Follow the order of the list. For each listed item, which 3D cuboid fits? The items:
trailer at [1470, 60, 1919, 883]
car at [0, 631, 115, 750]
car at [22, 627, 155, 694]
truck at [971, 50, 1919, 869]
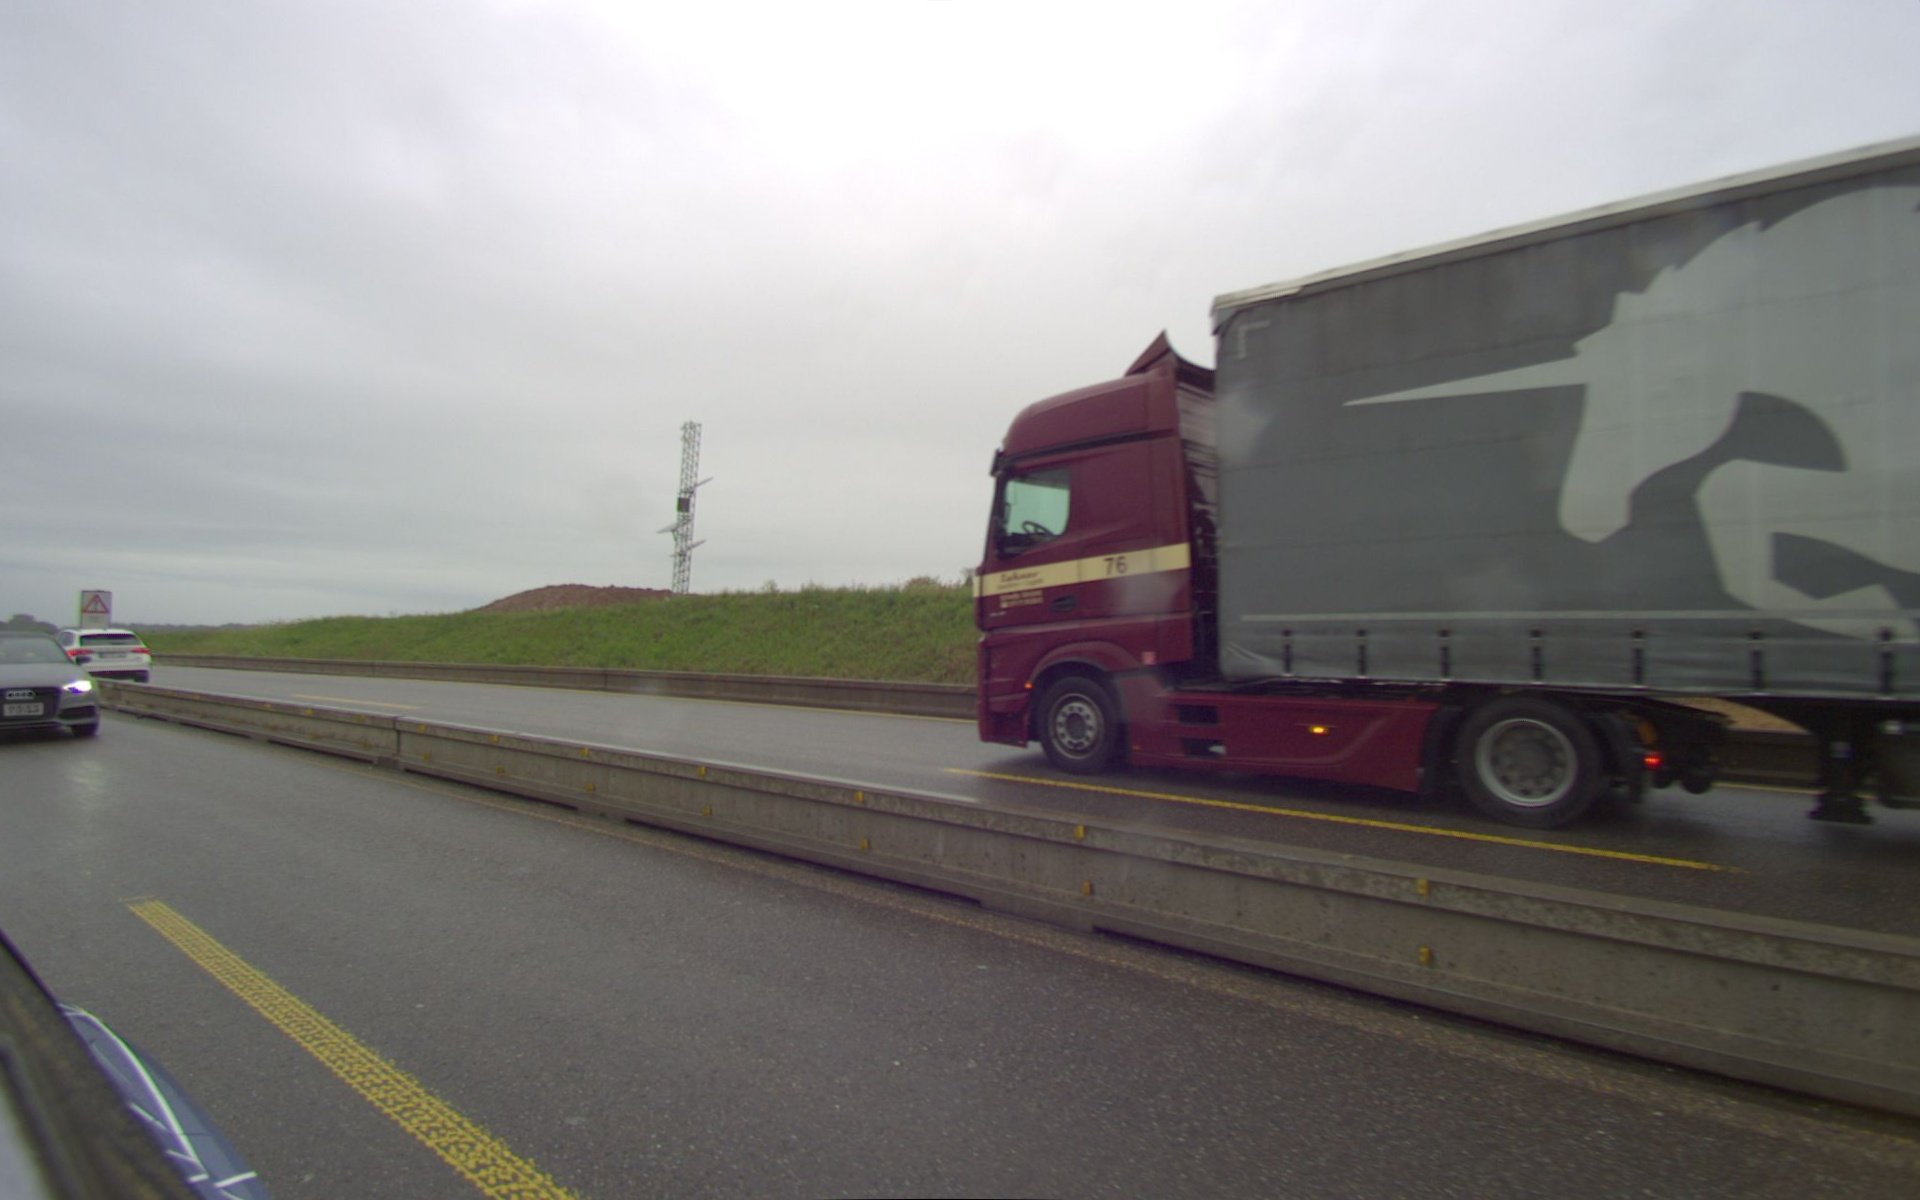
[{"bbox_3d":[10.369,-0.806,2.842,15.695,4.455,2.964,-2,-4,41],"label":"trailer"},{"bbox_3d":[-13.093,1.140,13.670,4.083,1.393,1.783,-1,-1,39],"label":"car"},{"bbox_3d":[-22.265,1.479,25.803,4.628,1.514,1.727,-1,-1,38],"label":"car"},{"bbox_3d":[3.682,-0.651,8.738,6.927,4.443,2.948,-2,-3,41],"label":"truck"}]
